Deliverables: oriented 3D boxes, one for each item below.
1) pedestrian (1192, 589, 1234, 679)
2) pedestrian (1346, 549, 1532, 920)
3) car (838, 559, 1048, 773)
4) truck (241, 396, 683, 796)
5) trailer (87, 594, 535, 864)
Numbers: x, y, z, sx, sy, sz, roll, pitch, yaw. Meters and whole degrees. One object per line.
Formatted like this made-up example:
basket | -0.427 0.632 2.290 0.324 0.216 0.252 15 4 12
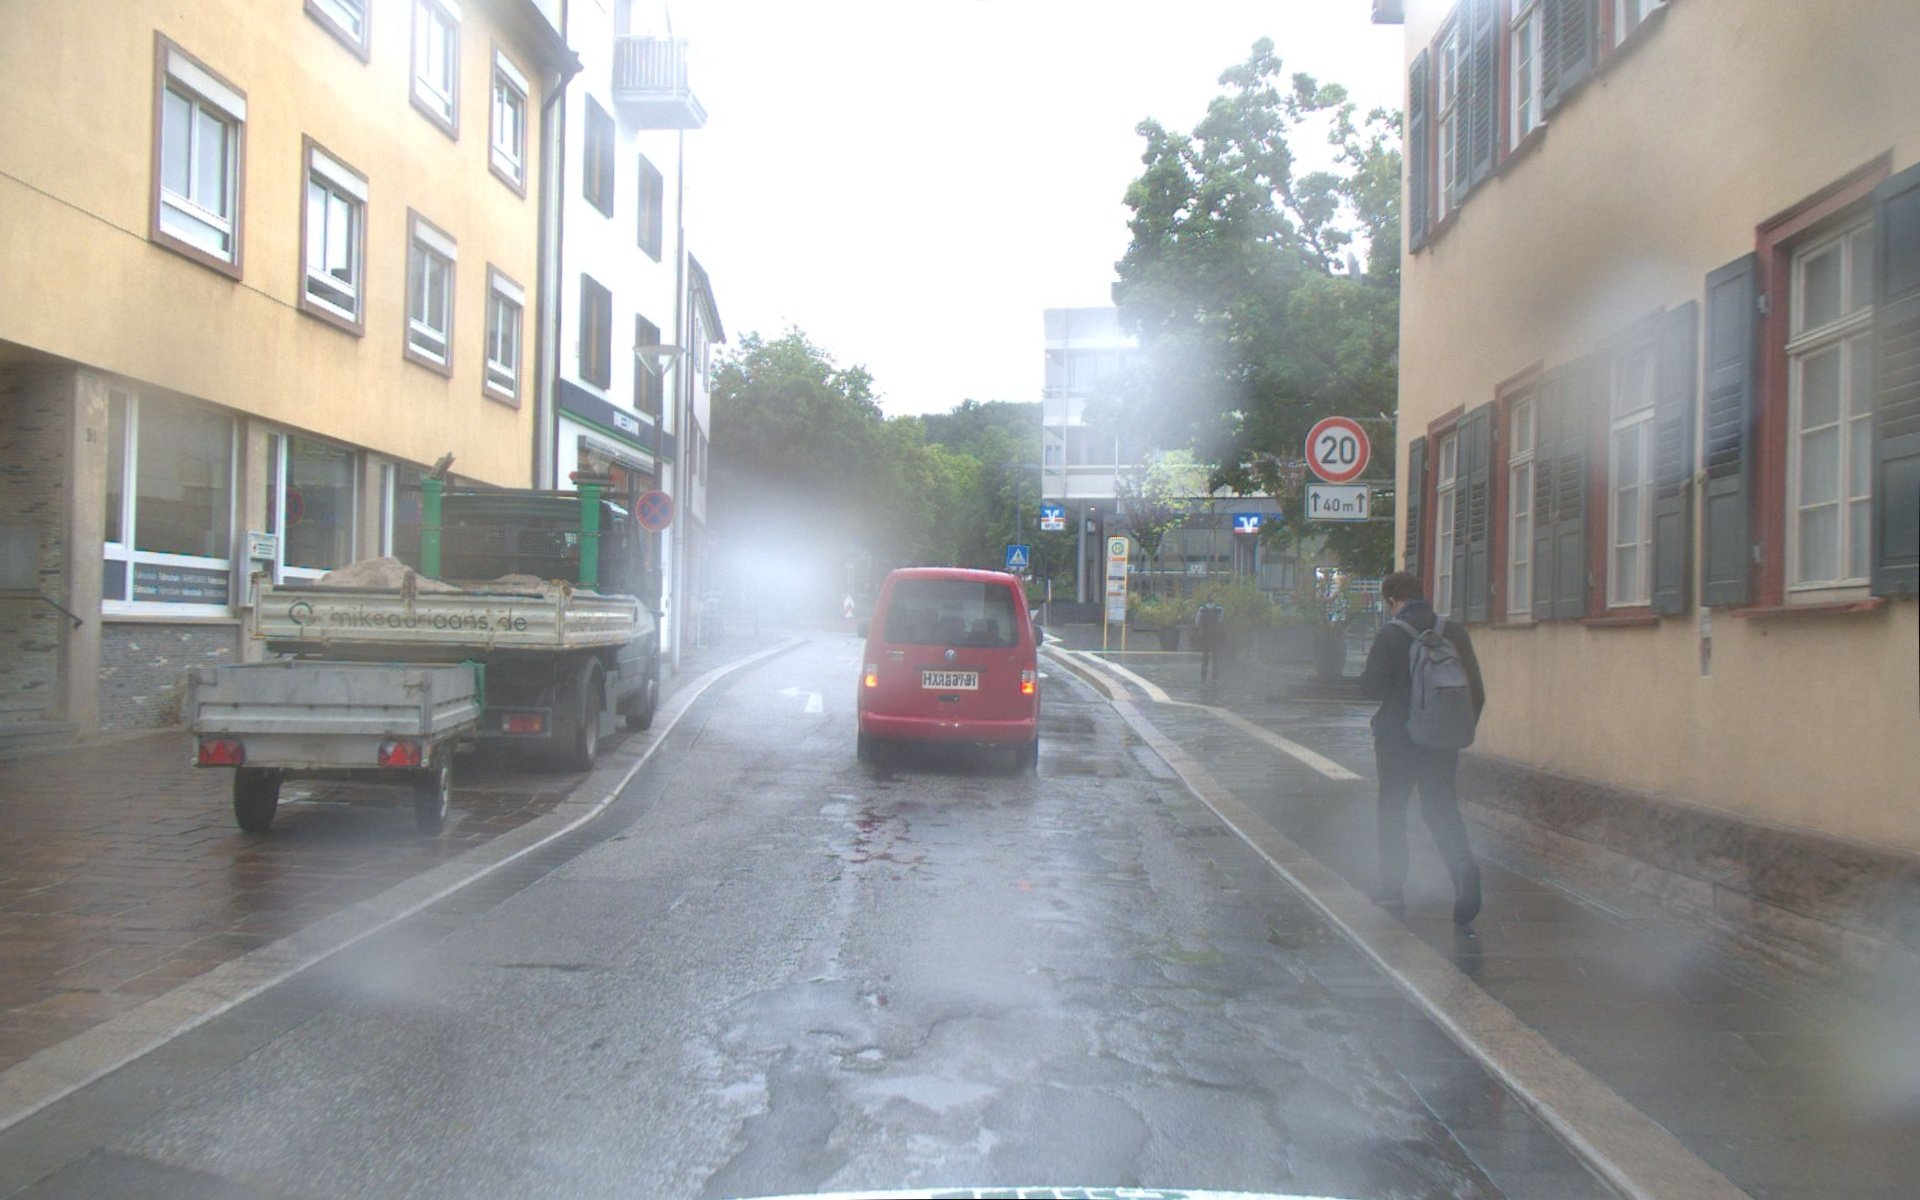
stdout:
pedestrian | 4.675 0.619 30.552 0.712 1.645 0.694 0 -1 4
pedestrian | 2.338 0.622 8.158 0.699 1.722 0.868 0 0 4
car | -0.230 0.590 16.674 1.825 1.862 4.183 1 0 -2
truck | -4.105 -0.081 15.136 2.424 2.844 6.595 0 1 -4
trailer | -3.814 0.670 10.286 1.694 1.370 3.158 0 1 -4
